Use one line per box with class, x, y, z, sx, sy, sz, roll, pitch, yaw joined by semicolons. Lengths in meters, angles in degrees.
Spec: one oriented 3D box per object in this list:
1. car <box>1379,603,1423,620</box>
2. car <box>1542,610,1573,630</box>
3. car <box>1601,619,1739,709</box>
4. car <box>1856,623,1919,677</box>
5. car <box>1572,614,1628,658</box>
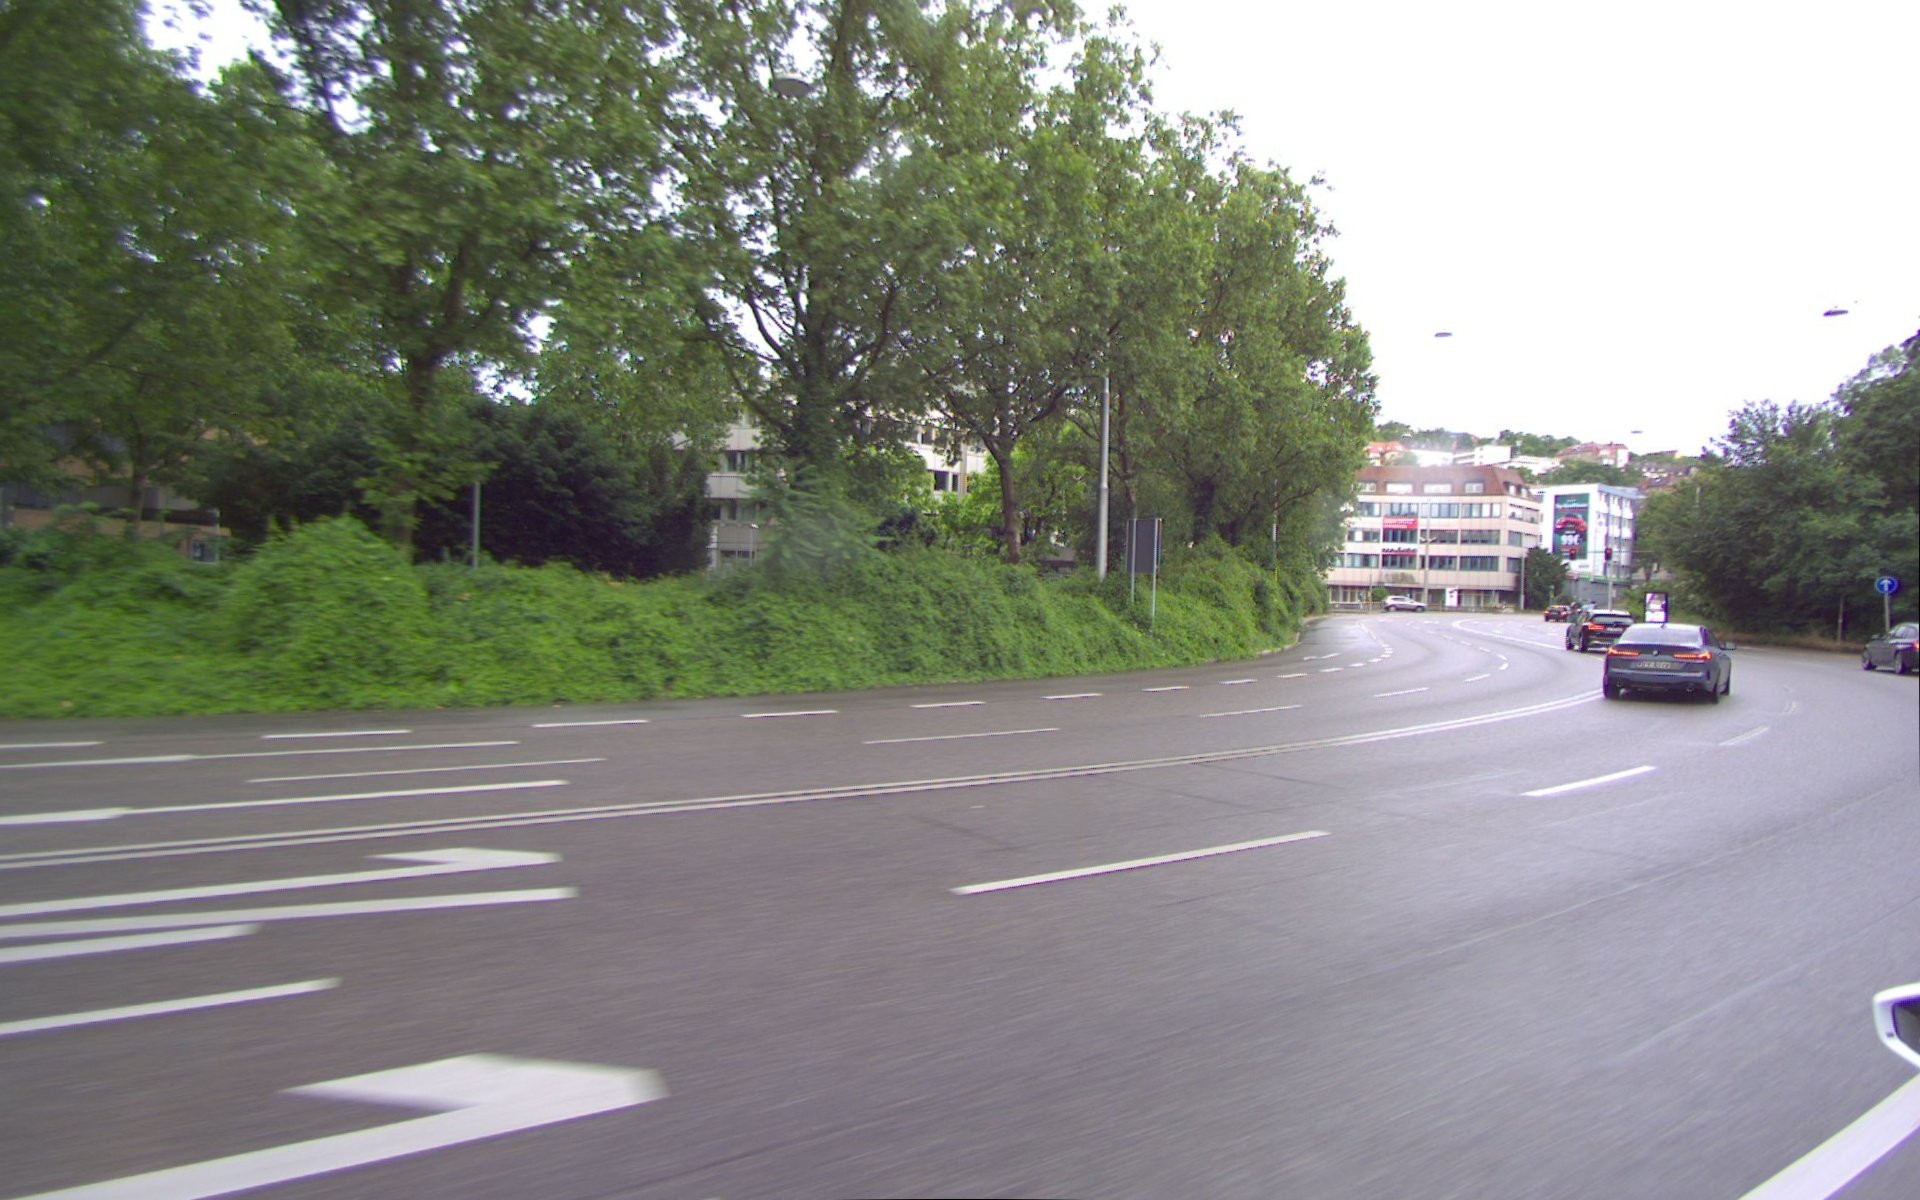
car;46.691;1.234;106.380;3.919;1.751;1.666;1;0;11
car;52.557;1.767;88.316;1.807;1.673;3.984;2;0;38
car;13.999;1.154;19.706;1.647;1.434;4.514;2;1;42
car;27.633;1.489;29.019;1.732;1.451;4.405;0;-4;30
car;24.932;1.362;39.225;1.732;1.607;4.403;0;-1;31
